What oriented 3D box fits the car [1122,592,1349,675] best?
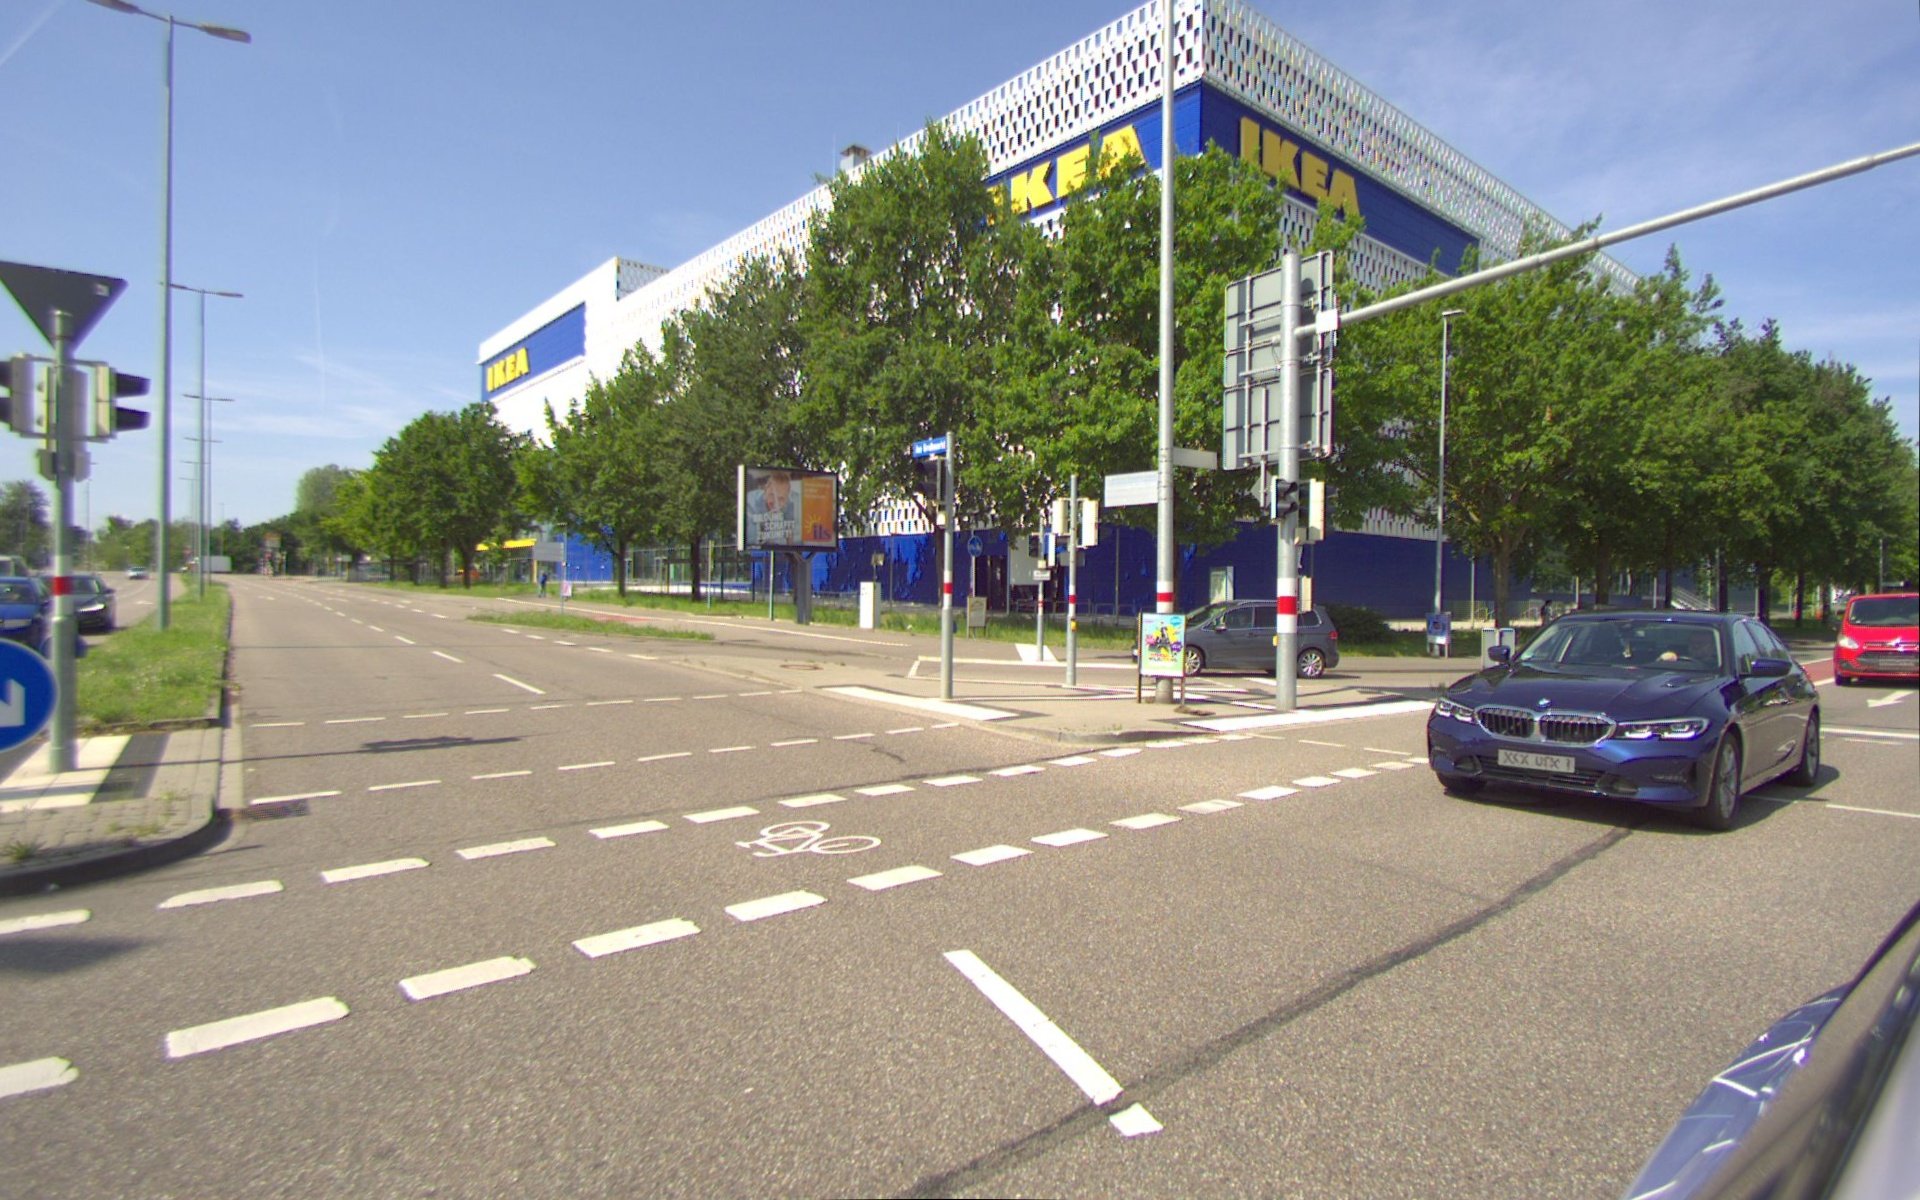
[{"bbox_3d":[5.898,0.688,21.963,4.301,1.676,2.003,0,1,-8],"label":"car"}]

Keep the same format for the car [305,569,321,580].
[{"bbox_3d":[-91.981,-3.617,143.897,1.610,1.554,3.915,0,0,-37],"label":"car"}]

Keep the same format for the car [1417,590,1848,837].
[{"bbox_3d":[5.569,0.700,8.118,4.459,1.447,1.798,1,0,-41],"label":"car"}]

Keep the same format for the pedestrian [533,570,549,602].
[{"bbox_3d":[-27.039,-0.876,65.292,0.597,2.039,0.673,-3,-2,36],"label":"pedestrian"}]

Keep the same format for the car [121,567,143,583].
[{"bbox_3d":[-94.676,-2.902,115.758,1.850,1.704,3.998,0,3,-38],"label":"car"}]

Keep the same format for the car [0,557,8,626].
[{"bbox_3d":[-28.031,-0.191,27.927,1.926,2.000,4.688,-2,2,-36],"label":"car"}]

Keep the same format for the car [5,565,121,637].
[{"bbox_3d":[-22.173,-0.004,25.143,1.652,1.640,4.131,0,1,-35],"label":"car"}]

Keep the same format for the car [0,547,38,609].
[{"bbox_3d":[-32.259,-0.698,33.614,1.879,1.960,4.788,-1,1,-36],"label":"car"}]

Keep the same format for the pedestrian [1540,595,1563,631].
[{"bbox_3d":[26.160,0.583,44.769,0.767,1.565,0.680,0,0,-40],"label":"pedestrian"}]

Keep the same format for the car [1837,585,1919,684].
[{"bbox_3d":[20.380,0.687,21.489,4.726,1.932,2.012,0,-2,-41],"label":"car"}]

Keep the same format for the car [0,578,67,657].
[{"bbox_3d":[-17.878,0.280,18.740,1.692,1.359,4.055,-1,1,-37],"label":"car"}]

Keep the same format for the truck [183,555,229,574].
[{"bbox_3d":[-124.401,-5.799,167.000,5.873,3.067,1.996,-1,-1,-41],"label":"truck"}]
